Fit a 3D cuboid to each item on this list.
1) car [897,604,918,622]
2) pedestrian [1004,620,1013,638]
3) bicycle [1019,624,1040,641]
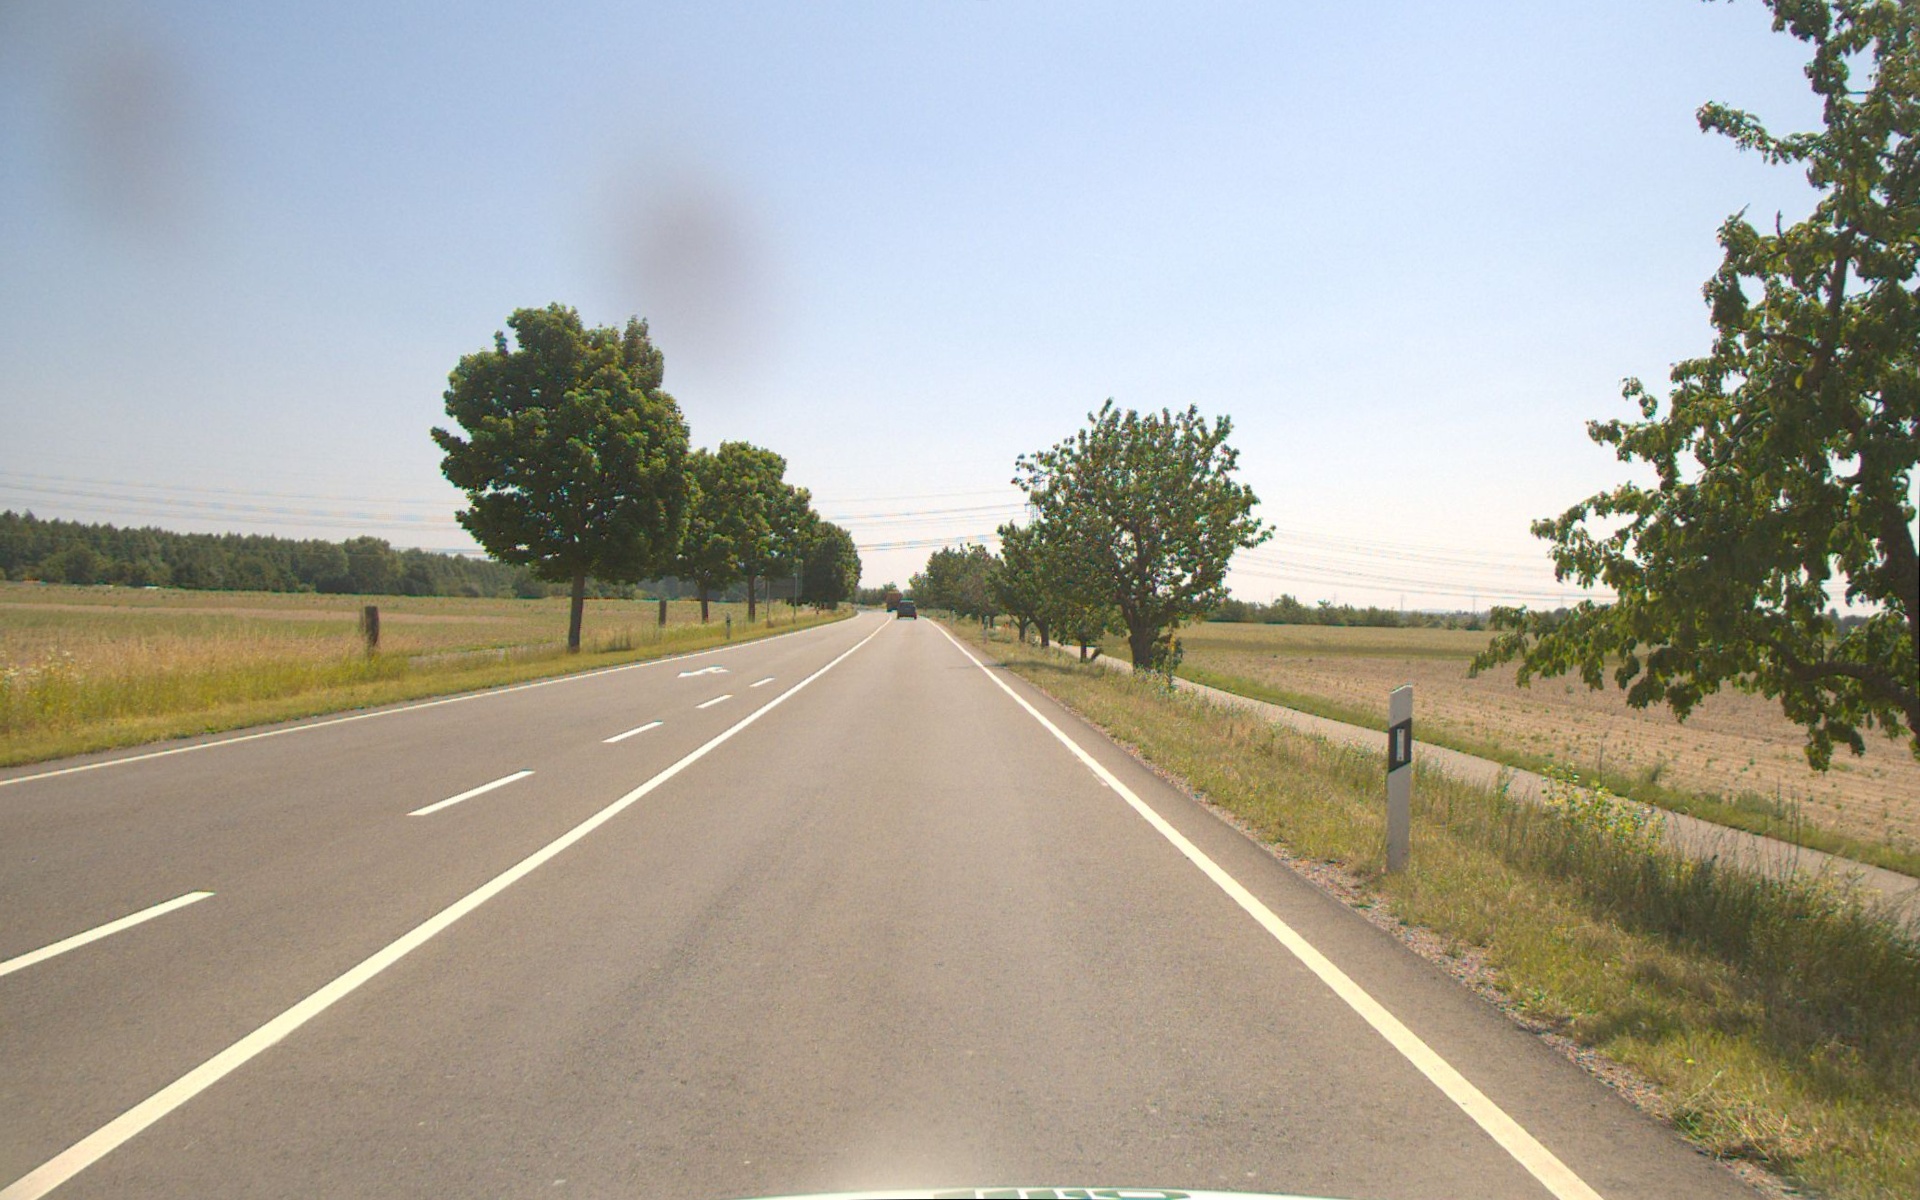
[{"bbox_3d":[-4.858,1.229,154.033,1.847,1.544,4.038,4,0,-2],"label":"car"},{"bbox_3d":[3.864,2.286,131.749,0.545,1.395,0.603,4,0,-10],"label":"pedestrian"},{"bbox_3d":[5.358,2.488,127.613,1.195,1.185,2.433,4,0,-6],"label":"bicycle"}]
